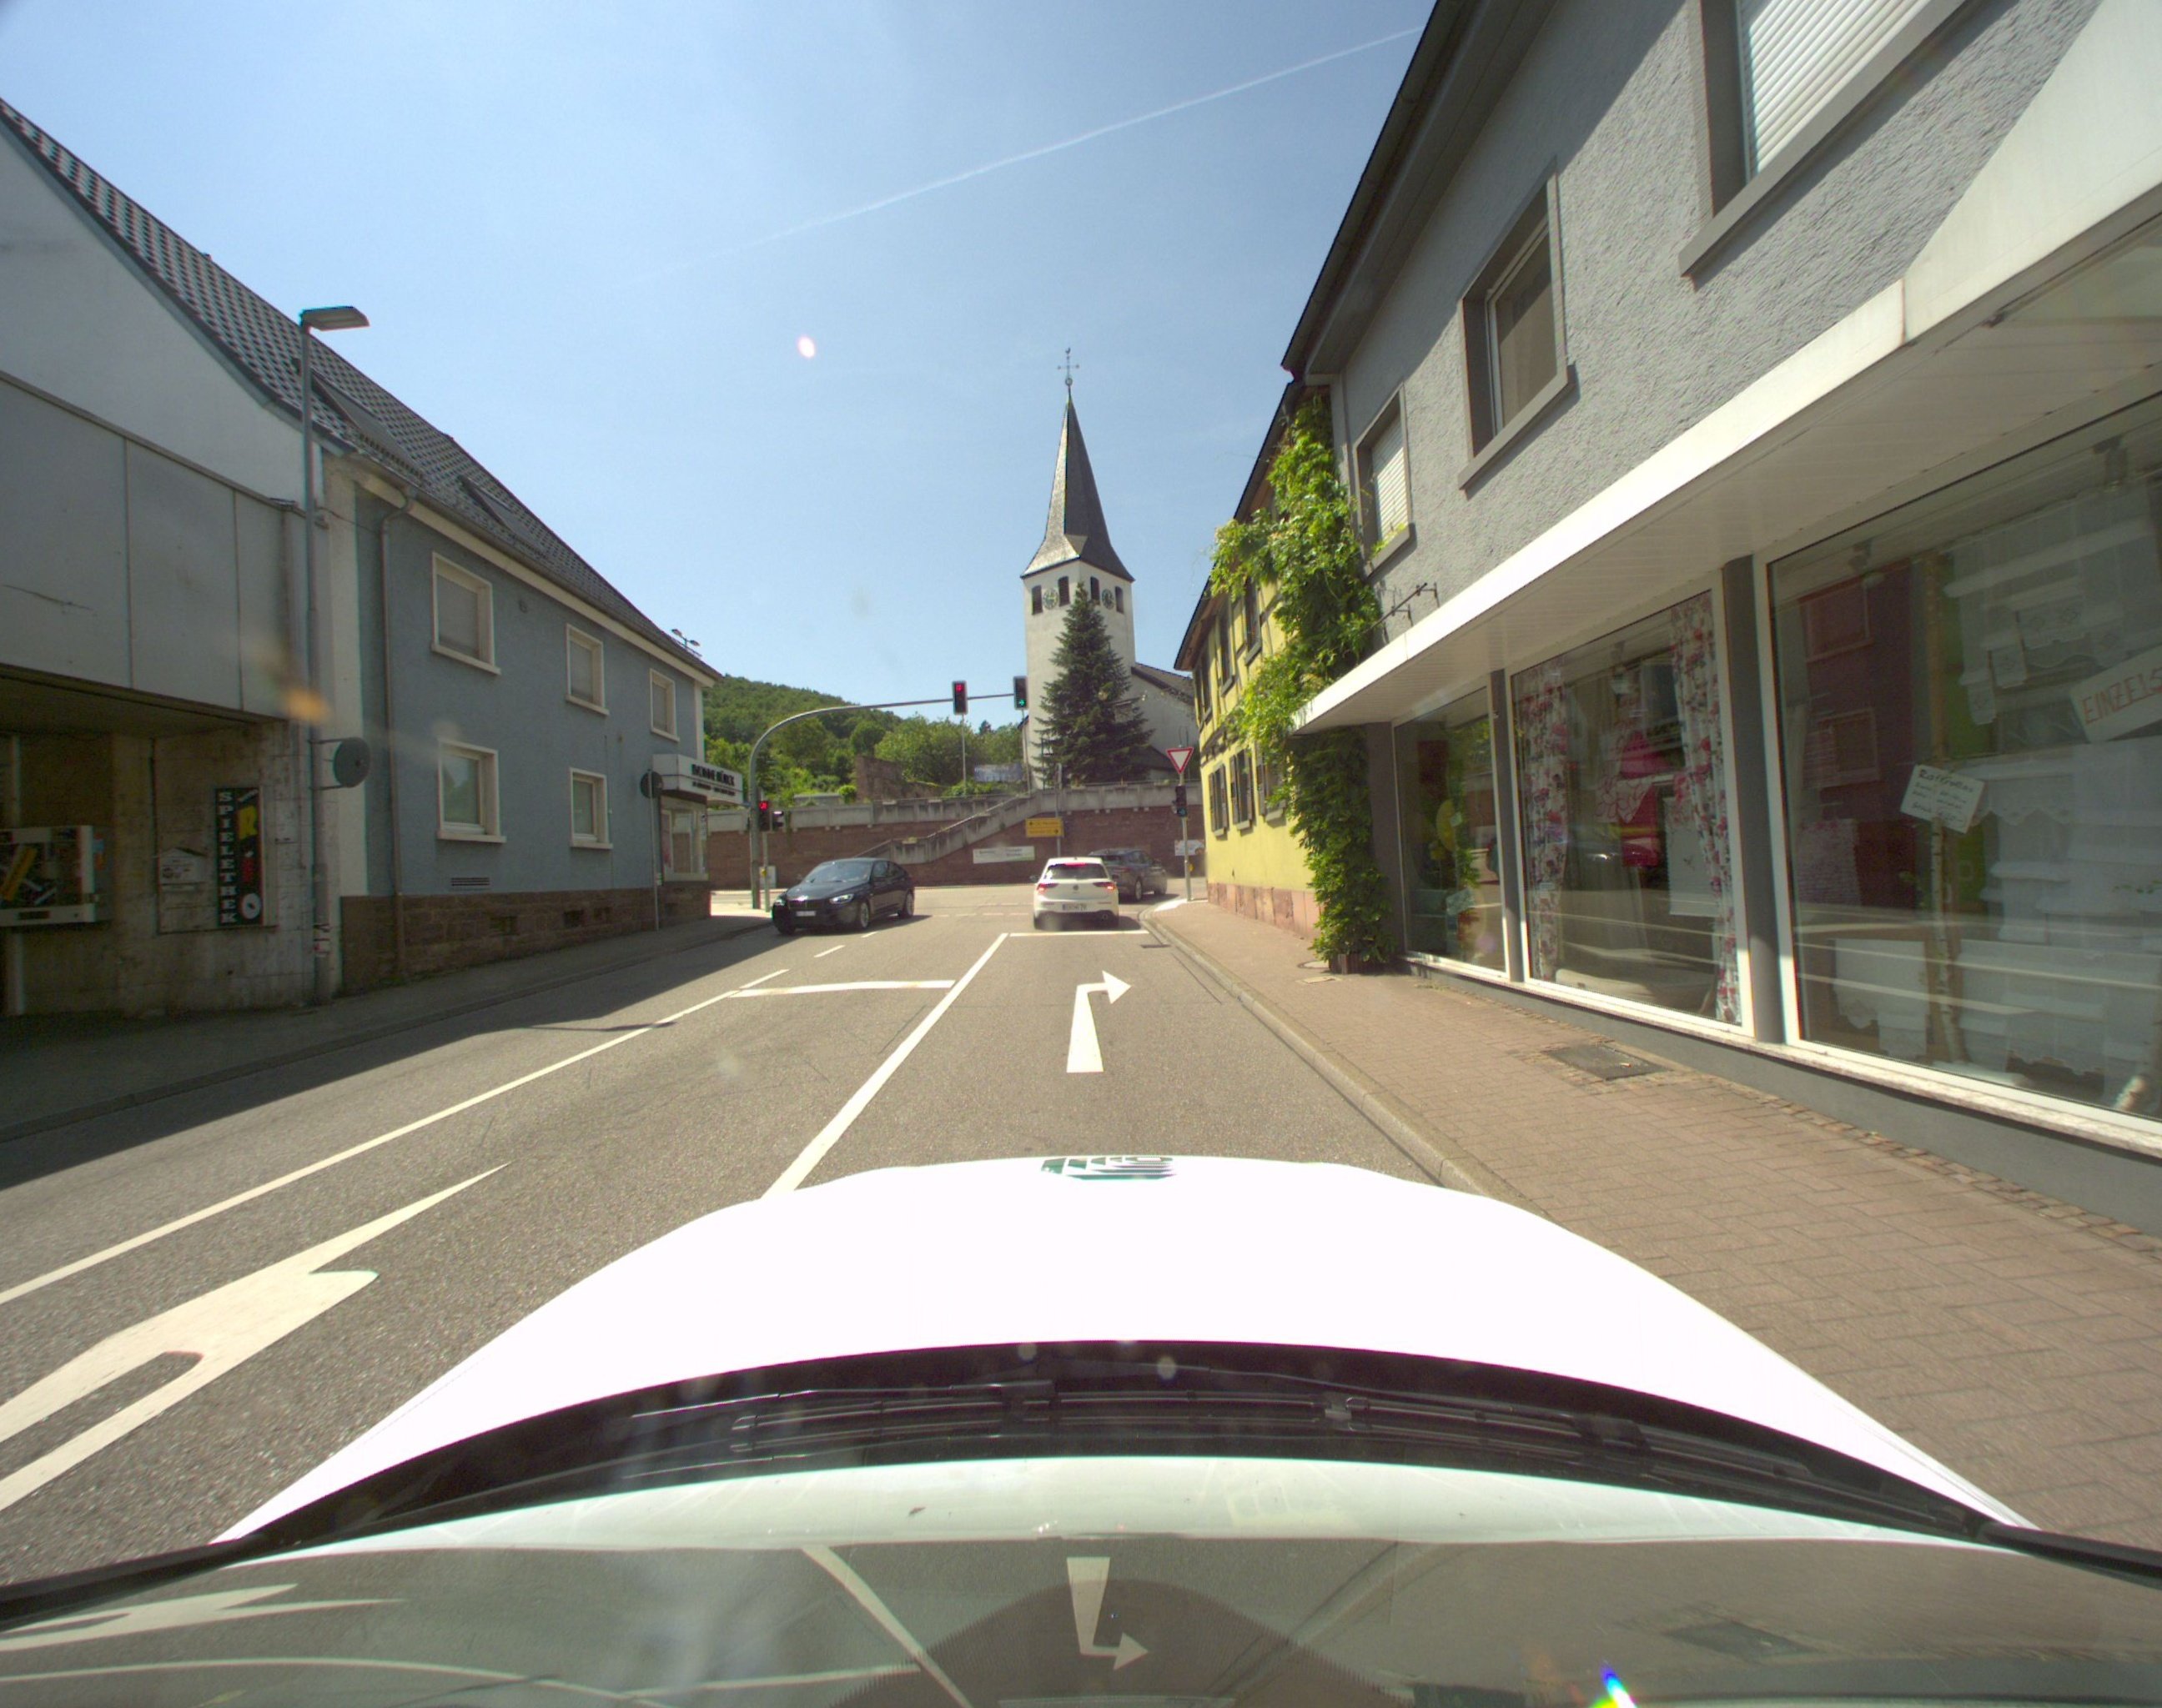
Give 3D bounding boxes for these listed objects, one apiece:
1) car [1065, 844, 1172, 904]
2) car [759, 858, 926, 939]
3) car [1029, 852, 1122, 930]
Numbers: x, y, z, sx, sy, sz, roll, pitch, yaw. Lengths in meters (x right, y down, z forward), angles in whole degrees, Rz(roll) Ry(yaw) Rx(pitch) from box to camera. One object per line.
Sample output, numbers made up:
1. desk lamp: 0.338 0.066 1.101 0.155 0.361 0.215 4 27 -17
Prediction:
1. car: 1.308 0.573 25.819 1.932 1.582 4.350 -2 1 23
2. car: -5.316 0.918 18.939 1.787 1.487 4.808 -4 -1 8
3. car: -0.102 0.740 17.930 1.777 1.458 3.862 -3 -1 0
